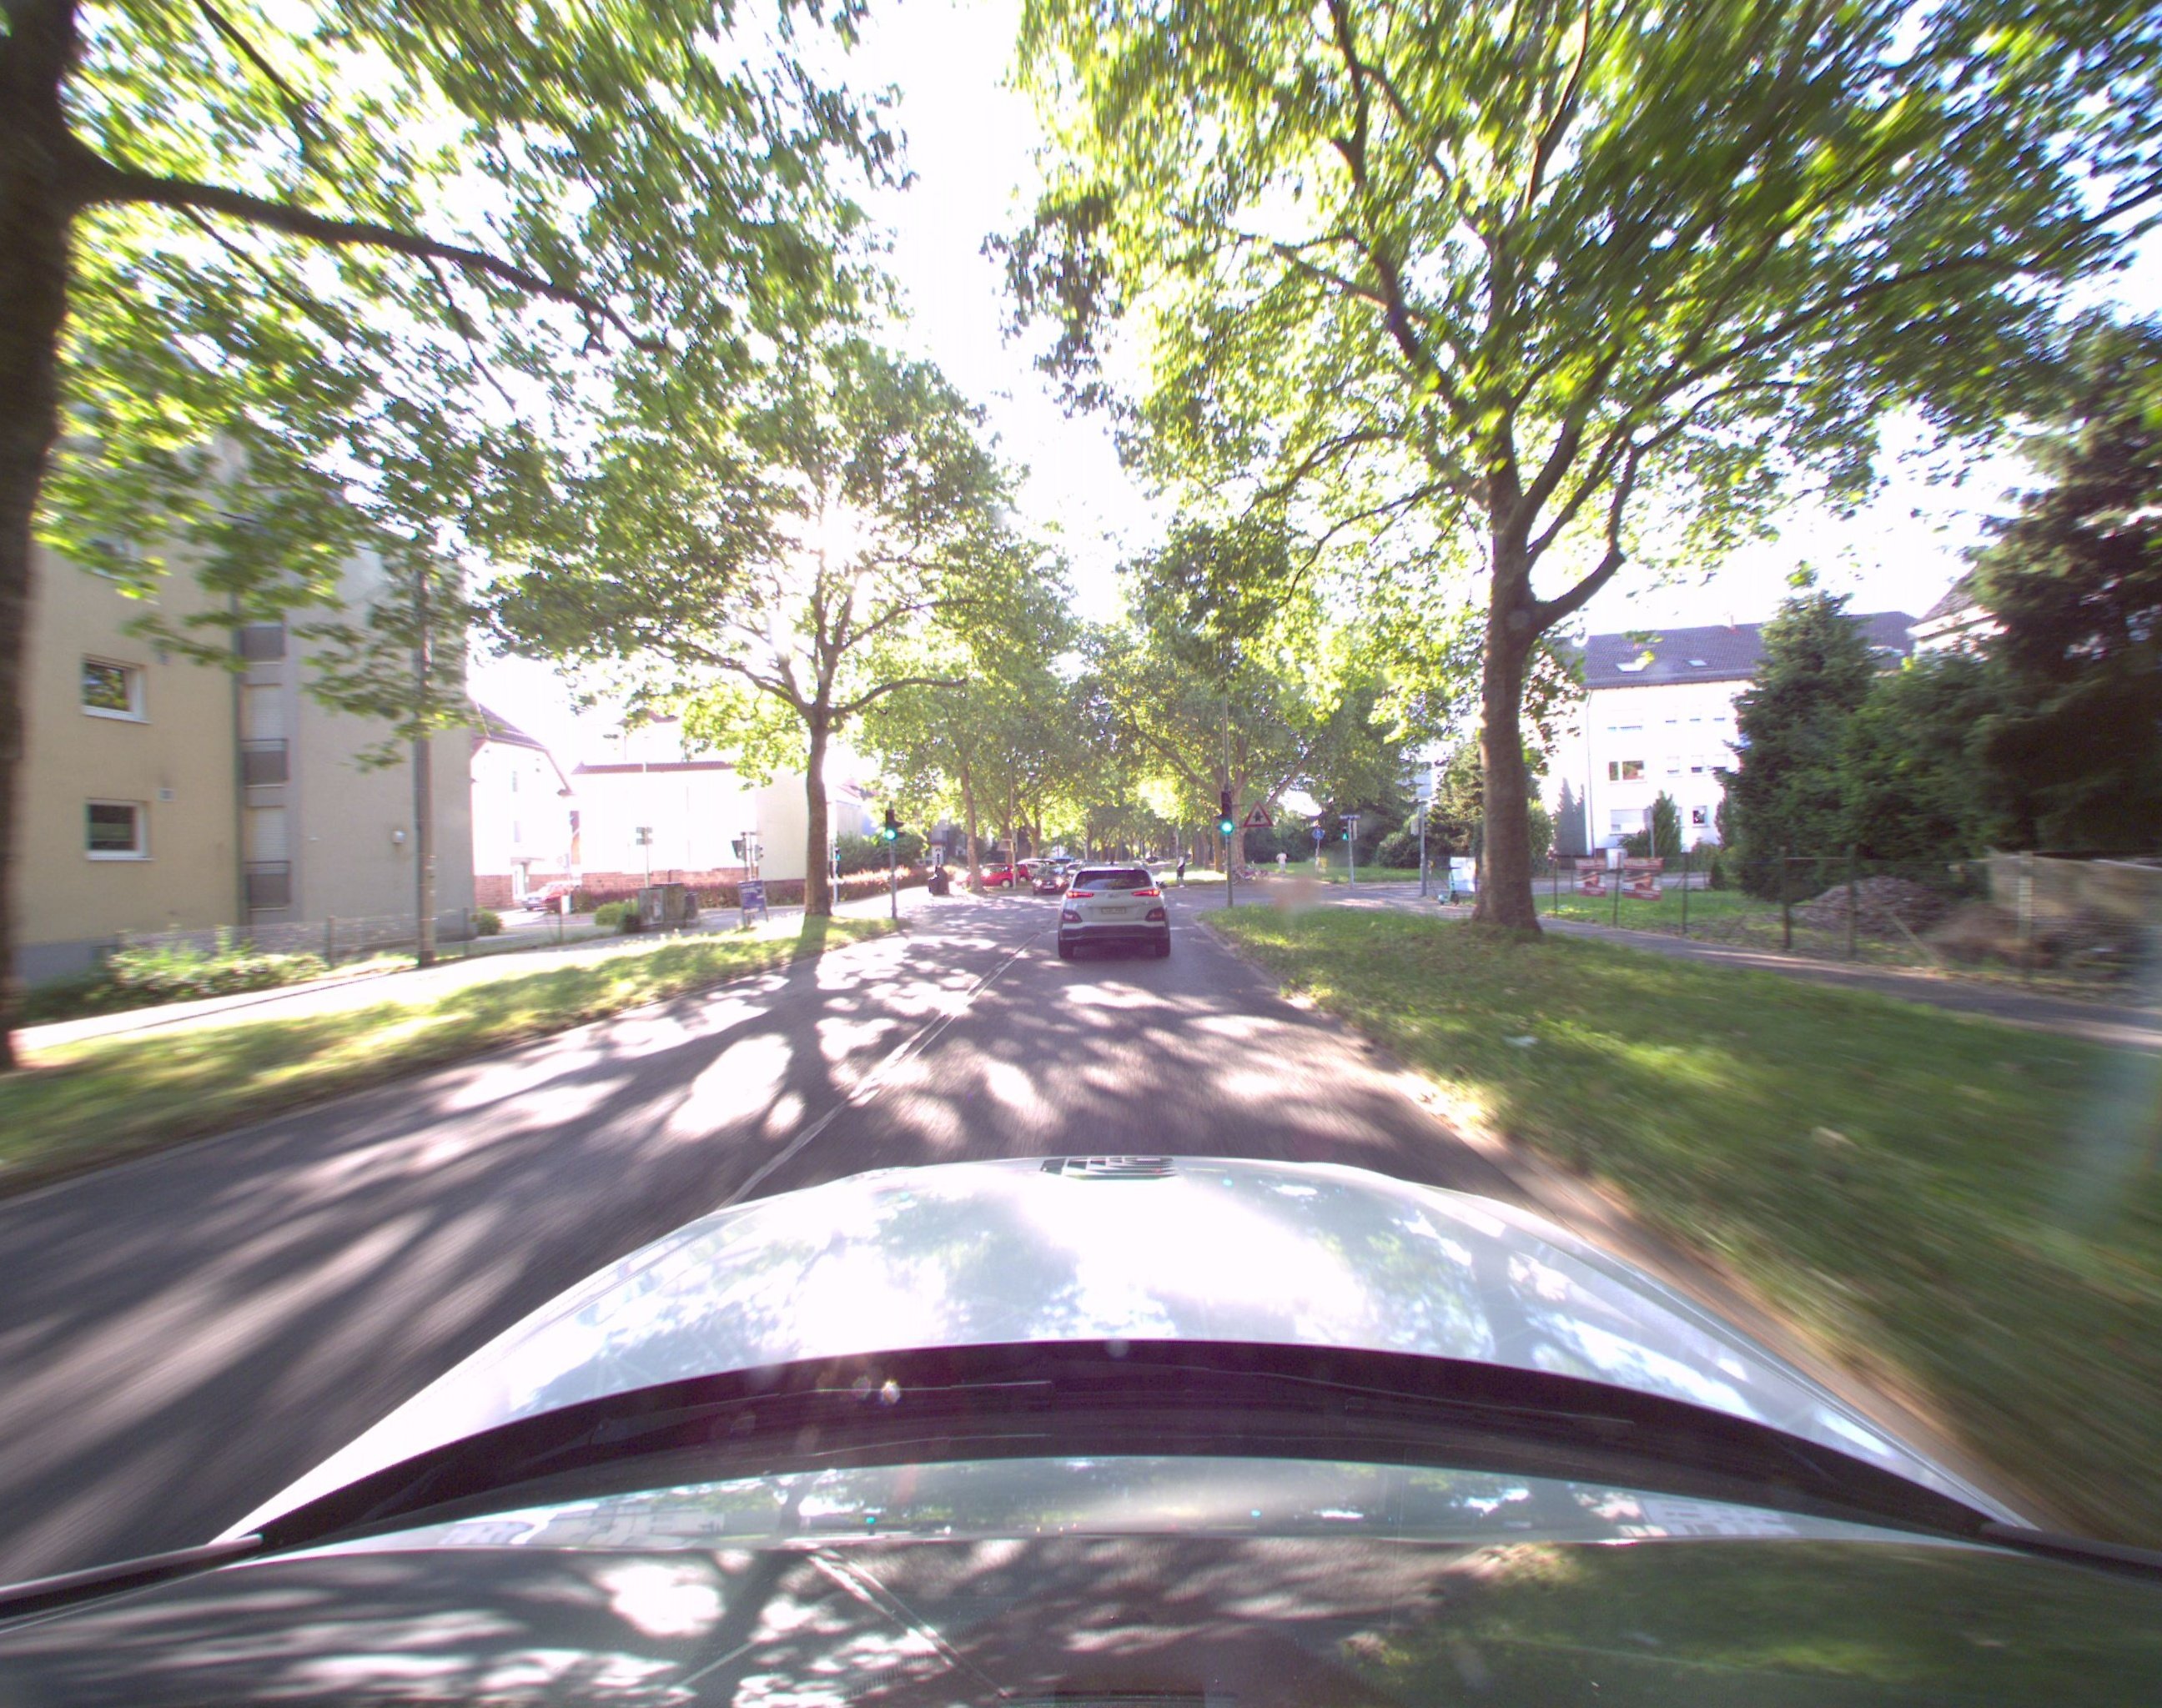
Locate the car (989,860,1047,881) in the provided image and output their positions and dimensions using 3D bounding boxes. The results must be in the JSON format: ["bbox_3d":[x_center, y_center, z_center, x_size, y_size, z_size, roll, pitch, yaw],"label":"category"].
[{"bbox_3d":[-4.625,1.239,60.045,3.971,1.478,2.001,-1,-1,2],"label":"car"}]

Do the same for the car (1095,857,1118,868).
[{"bbox_3d":[4.425,1.451,141.556,3.666,1.808,1.745,-1,-1,-7],"label":"car"}]

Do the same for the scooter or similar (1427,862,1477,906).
[{"bbox_3d":[11.131,0.871,24.524,0.547,1.258,2.315,-1,-1,3],"label":"scooter or similar"}]

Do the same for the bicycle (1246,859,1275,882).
[{"bbox_3d":[9.721,0.888,44.176,0.605,1.183,2.106,0,-1,-17],"label":"bicycle"}]

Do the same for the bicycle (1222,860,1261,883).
[{"bbox_3d":[8.553,0.944,43.412,0.608,1.164,2.124,0,-2,-41],"label":"bicycle"}]

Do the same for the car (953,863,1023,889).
[{"bbox_3d":[-5.713,1.346,50.238,3.971,1.478,2.001,-1,-1,2],"label":"car"}]

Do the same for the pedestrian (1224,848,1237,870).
[{"bbox_3d":[13.956,0.455,76.106,1.088,2.013,1.108,-3,-1,8],"label":"pedestrian"}]

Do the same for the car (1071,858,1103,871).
[{"bbox_3d":[0.750,1.342,103.605,3.971,1.478,2.001,-1,-1,2],"label":"car"}]

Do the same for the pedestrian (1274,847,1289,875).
[{"bbox_3d":[12.776,0.438,51.885,0.828,1.736,0.887,-1,-1,10],"label":"pedestrian"}]

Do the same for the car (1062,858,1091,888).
[{"bbox_3d":[-0.262,1.246,53.864,1.784,1.882,4.001,-1,-1,2],"label":"car"}]

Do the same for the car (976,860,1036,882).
[{"bbox_3d":[-5.305,1.234,57.779,3.971,1.478,2.001,-1,-1,2],"label":"car"}]

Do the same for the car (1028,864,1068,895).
[{"bbox_3d":[-1.629,1.292,41.589,1.681,1.437,3.684,-1,0,3],"label":"car"}]

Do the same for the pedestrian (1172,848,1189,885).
[{"bbox_3d":[5.485,0.667,44.981,0.862,2.014,0.816,-1,-1,10],"label":"pedestrian"}]

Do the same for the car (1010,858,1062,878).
[{"bbox_3d":[-3.556,1.131,65.080,3.971,1.478,2.001,-1,-1,2],"label":"car"}]

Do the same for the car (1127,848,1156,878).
[{"bbox_3d":[4.382,0.595,59.180,1.985,2.013,4.004,-3,0,4],"label":"car"}]

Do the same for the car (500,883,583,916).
[{"bbox_3d":[-29.760,2.466,45.091,1.846,1.652,3.834,-1,-1,4],"label":"car"}]

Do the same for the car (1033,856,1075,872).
[{"bbox_3d":[-2.611,0.942,79.578,3.971,1.478,2.001,-1,-1,2],"label":"car"}]

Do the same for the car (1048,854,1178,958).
[{"bbox_3d":[0.551,0.832,14.557,1.986,1.574,4.001,-1,-1,2],"label":"car"}]

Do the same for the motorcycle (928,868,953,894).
[{"bbox_3d":[-7.861,1.479,45.699,0.843,1.379,2.777,-1,-1,2],"label":"motorcycle"}]
